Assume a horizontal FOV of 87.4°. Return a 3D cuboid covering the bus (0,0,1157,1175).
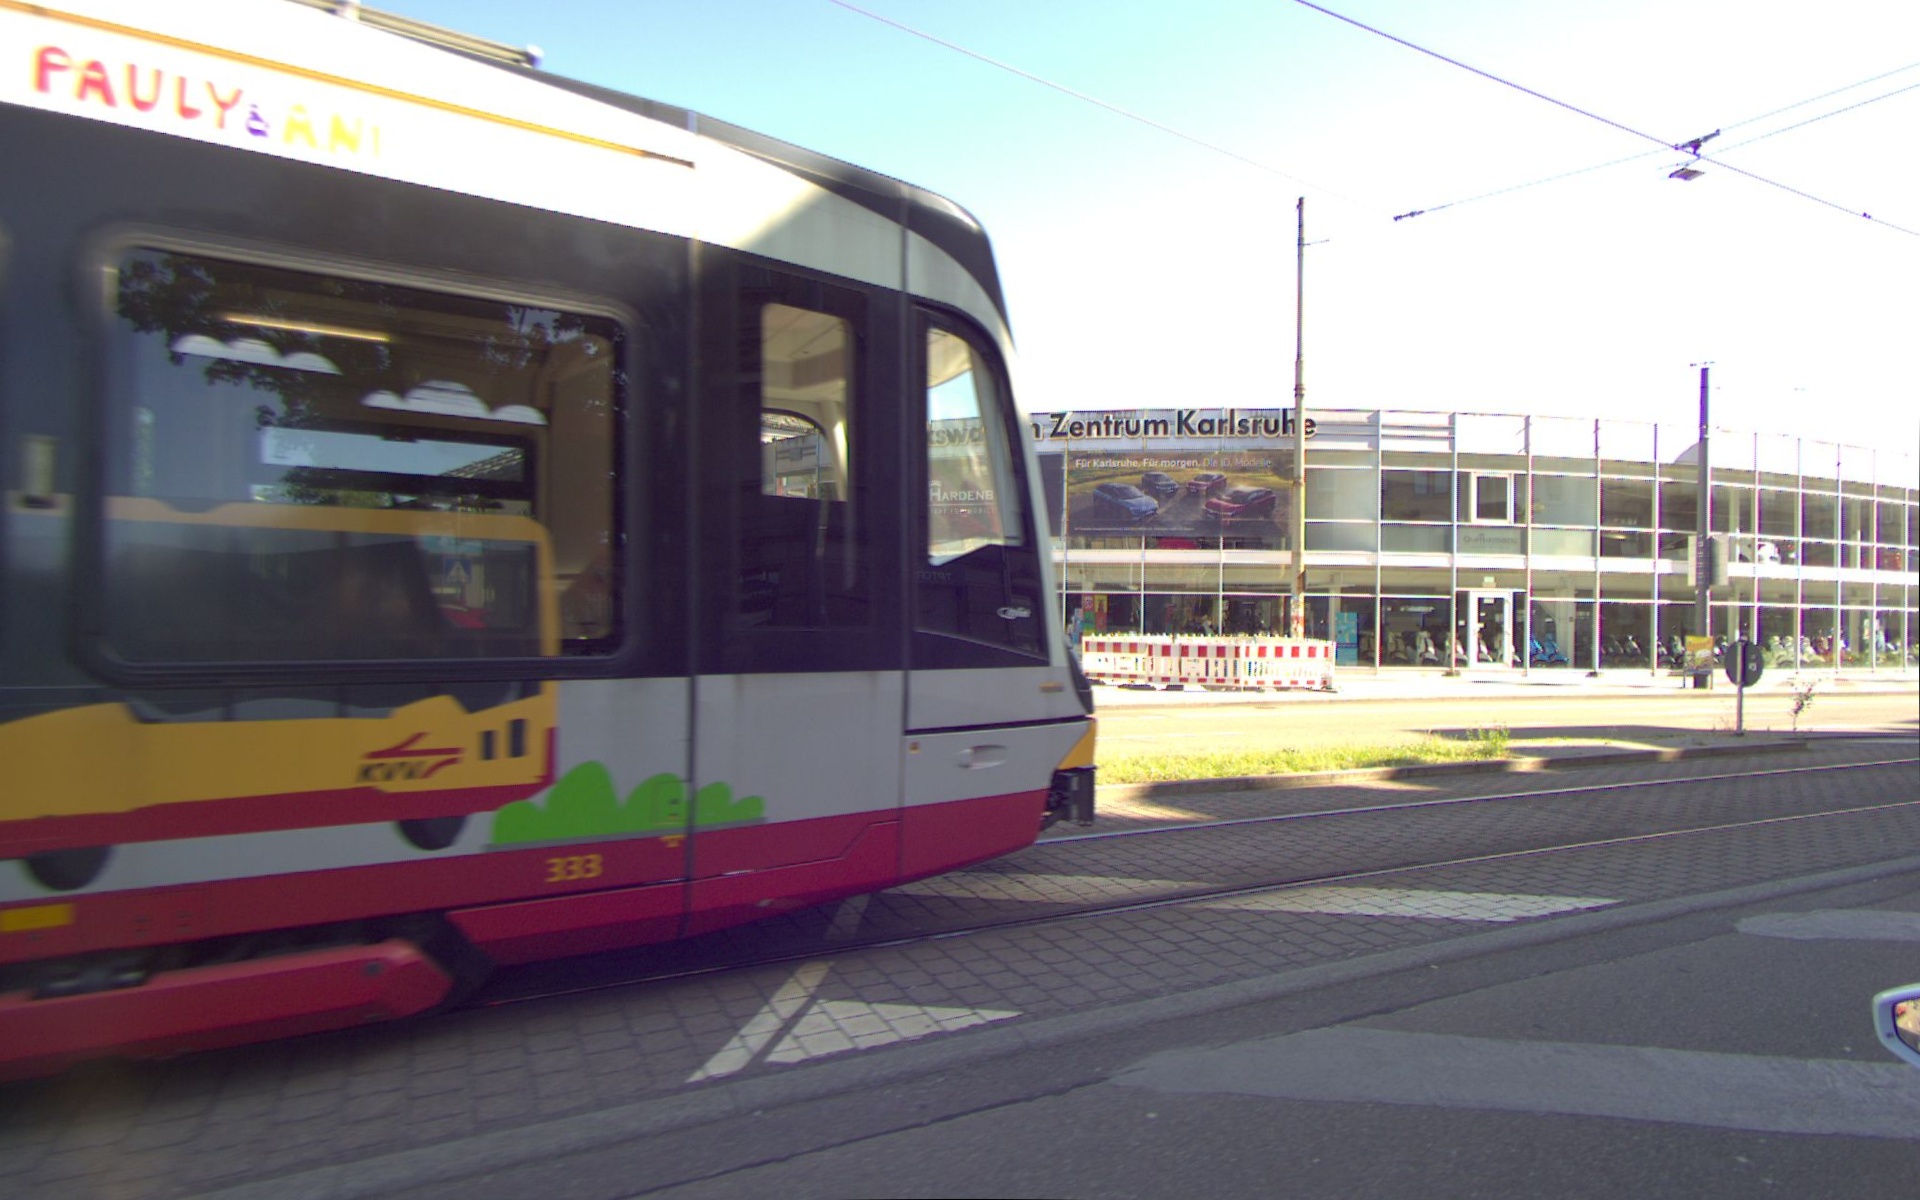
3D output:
[{"bbox_3d":[-4.589,-0.338,3.045,11.140,3.637,2.827,1,0,-31],"label":"bus"}]
